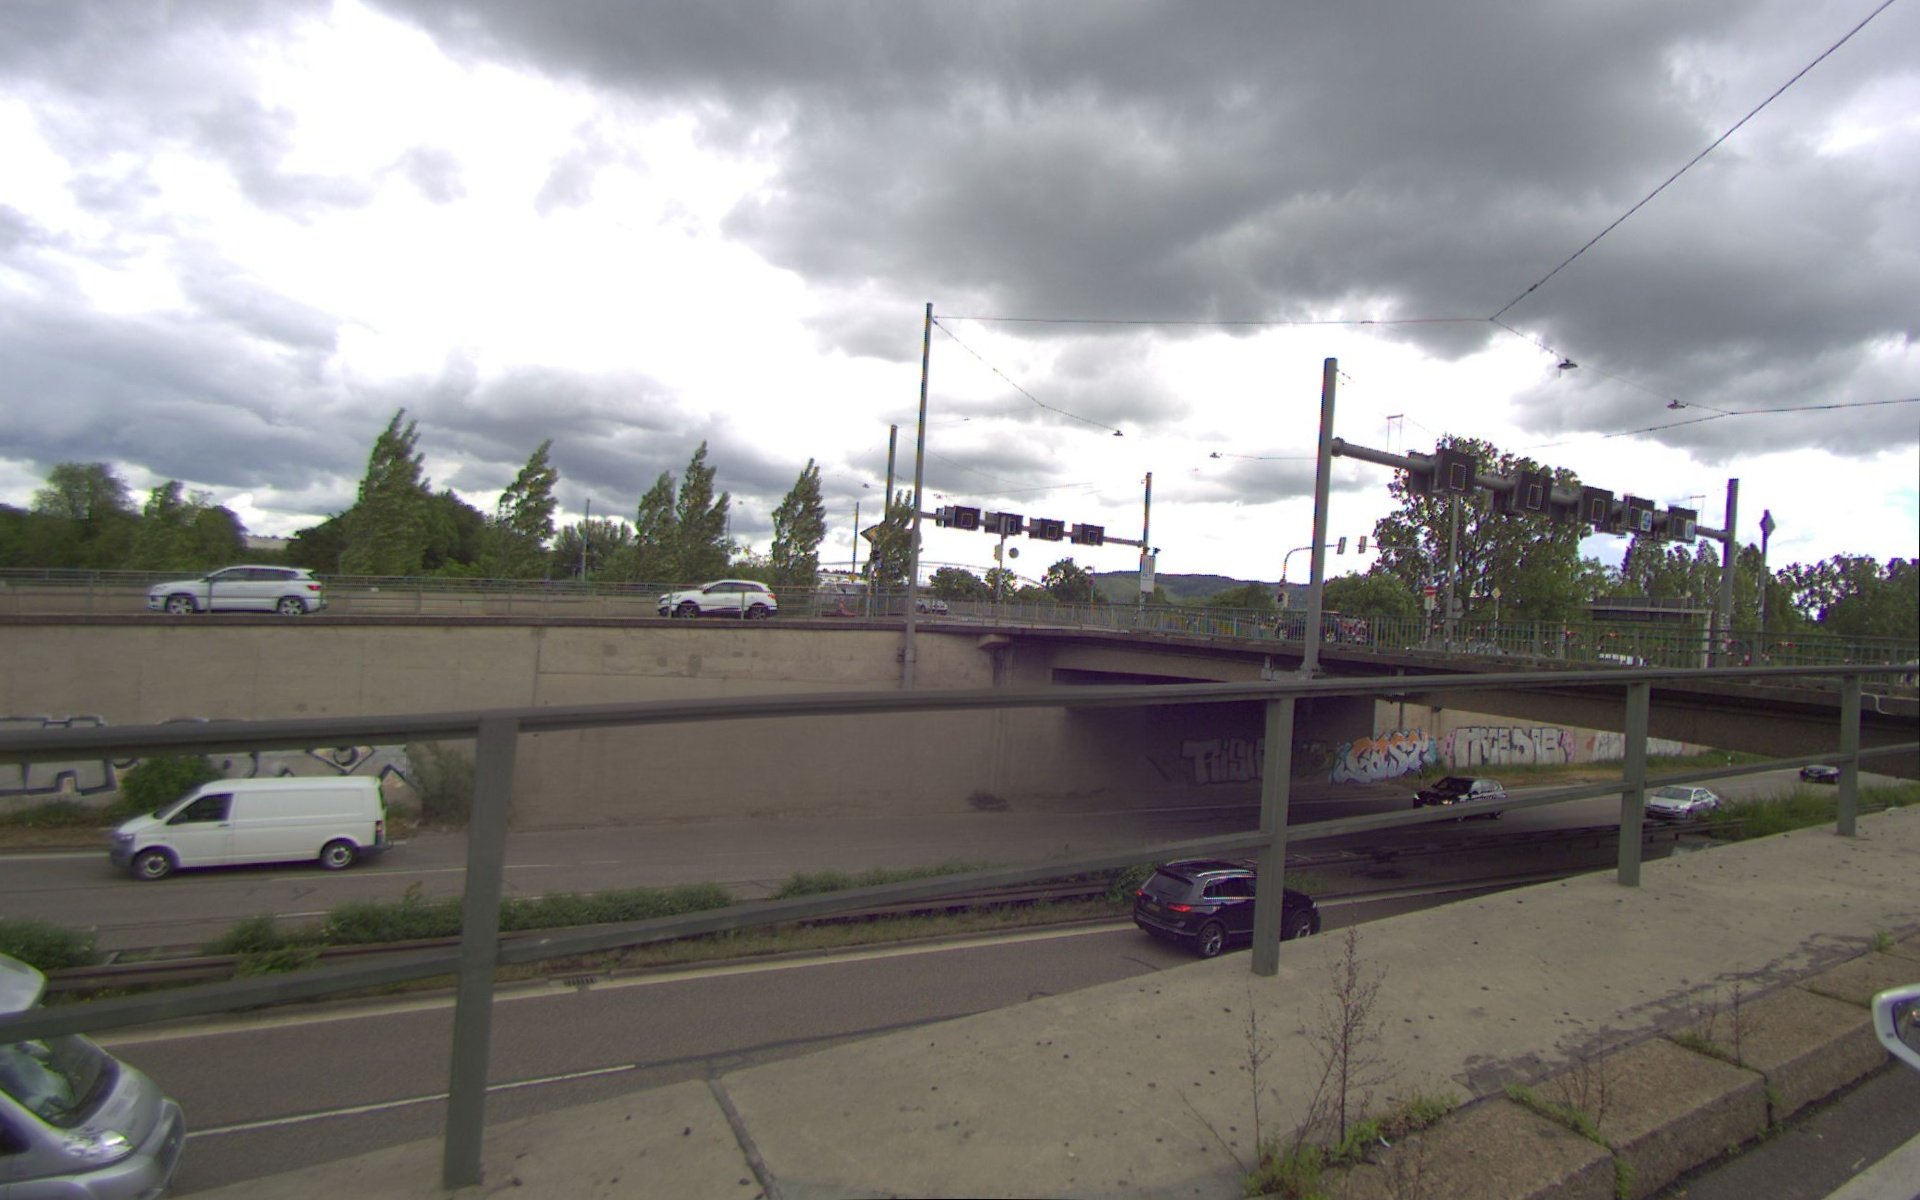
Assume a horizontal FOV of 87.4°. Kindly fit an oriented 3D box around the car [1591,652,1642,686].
[{"bbox_3d":[47.567,4.943,72.725,3.626,2.245,1.843,1,0,-35],"label":"car"}]

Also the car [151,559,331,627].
[{"bbox_3d":[-21.363,-0.174,30.101,4.164,1.895,1.984,1,0,-31],"label":"car"}]

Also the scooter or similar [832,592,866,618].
[{"bbox_3d":[-5.051,0.228,45.627,1.402,1.108,0.539,4,-2,-34],"label":"scooter or similar"}]

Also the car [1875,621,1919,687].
[{"bbox_3d":[26.648,1.469,26.162,1.900,1.740,3.999,1,0,-2],"label":"car"}]

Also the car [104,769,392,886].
[{"bbox_3d":[-16.228,5.159,23.322,5.117,2.094,1.984,5,-2,-30],"label":"car"}]

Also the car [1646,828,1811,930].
[{"bbox_3d":[20.922,7.471,27.288,4.844,1.960,1.939,5,-2,-32],"label":"car"}]

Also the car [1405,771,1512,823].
[{"bbox_3d":[21.078,8.270,42.440,4.502,1.761,1.905,5,-3,-31],"label":"car"}]

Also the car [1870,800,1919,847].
[{"bbox_3d":[40.060,9.355,42.222,3.639,1.573,1.550,5,-2,-29],"label":"car"}]

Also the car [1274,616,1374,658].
[{"bbox_3d":[16.632,1.676,46.035,1.915,1.740,3.966,1,0,-31],"label":"car"}]

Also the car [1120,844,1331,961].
[{"bbox_3d":[5.740,6.404,21.608,4.228,1.735,1.833,5,-2,-28],"label":"car"}]

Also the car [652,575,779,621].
[{"bbox_3d":[-9.086,-0.044,37.409,4.292,1.597,1.825,1,0,-28],"label":"car"}]

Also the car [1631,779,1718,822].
[{"bbox_3d":[32.677,9.109,45.901,4.041,1.548,1.720,5,-2,-31],"label":"car"}]

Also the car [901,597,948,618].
[{"bbox_3d":[-2.447,0.516,68.654,1.537,1.372,3.860,1,0,-31],"label":"car"}]

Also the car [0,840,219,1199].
[{"bbox_3d":[-10.908,4.004,8.041,7.572,3.282,2.350,4,-3,-30],"label":"car"}]

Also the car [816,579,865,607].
[{"bbox_3d":[-8.841,-0.518,74.003,1.711,2.040,4.442,1,0,-35],"label":"car"}]
